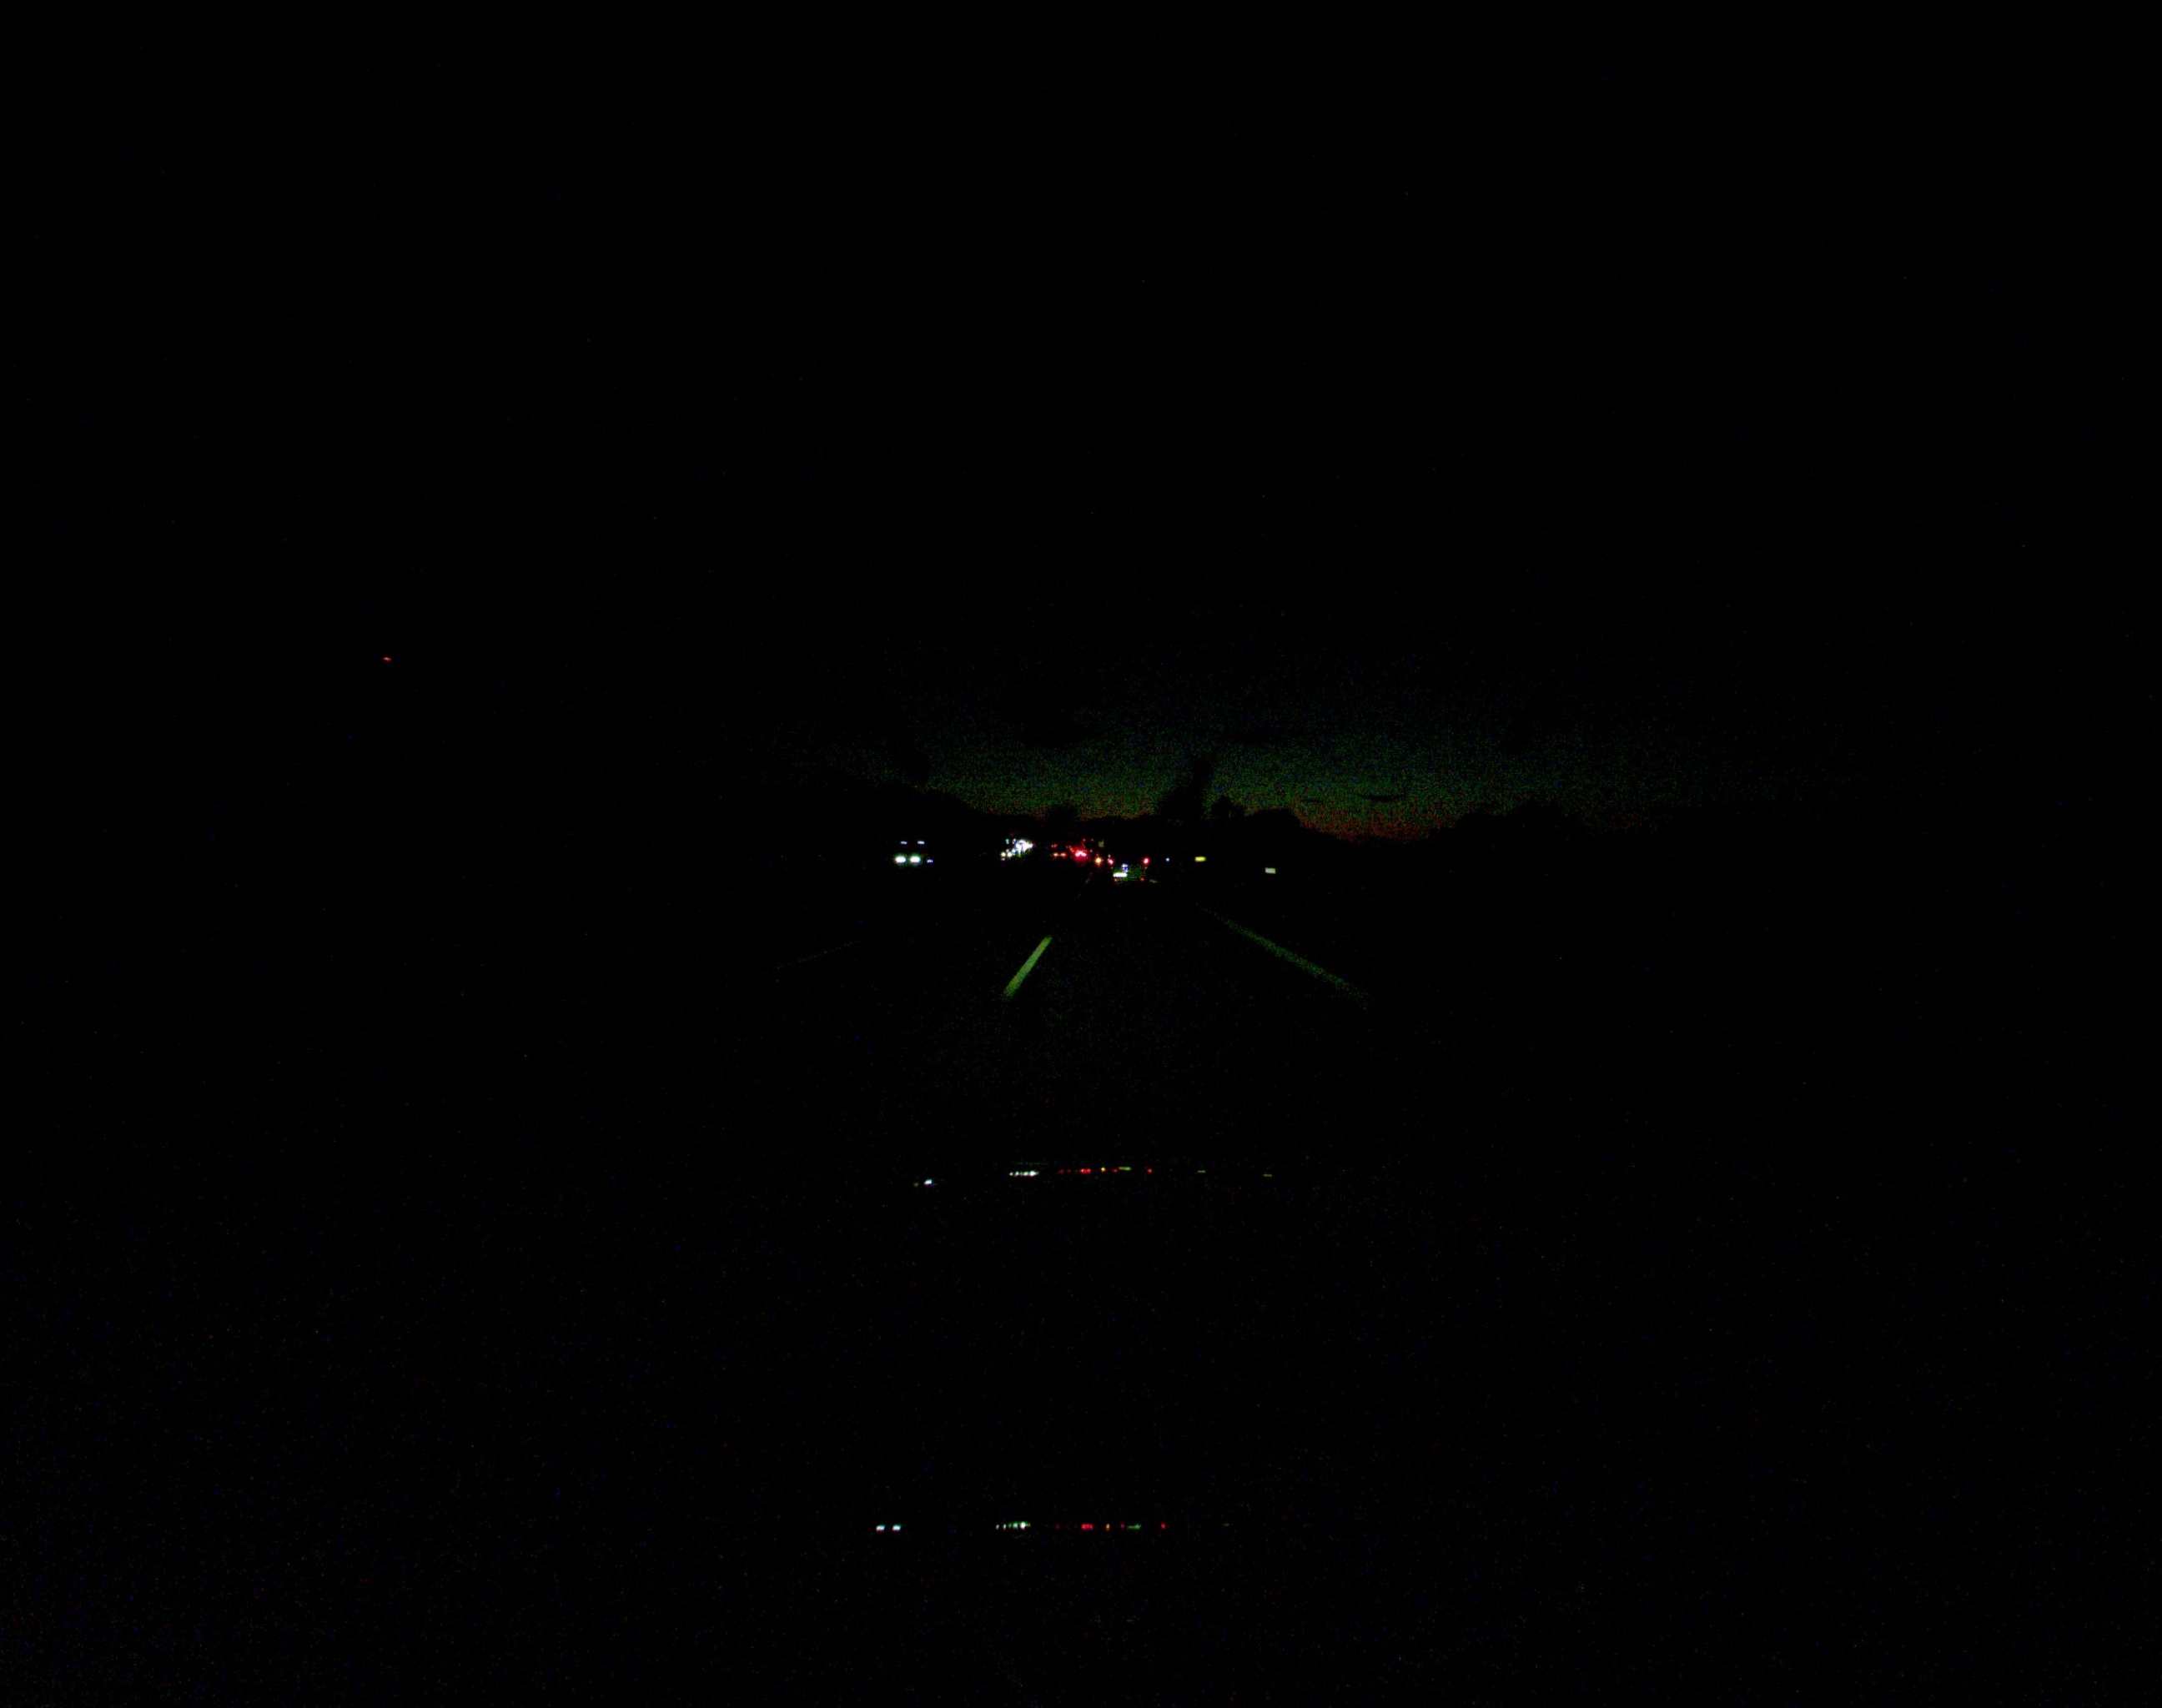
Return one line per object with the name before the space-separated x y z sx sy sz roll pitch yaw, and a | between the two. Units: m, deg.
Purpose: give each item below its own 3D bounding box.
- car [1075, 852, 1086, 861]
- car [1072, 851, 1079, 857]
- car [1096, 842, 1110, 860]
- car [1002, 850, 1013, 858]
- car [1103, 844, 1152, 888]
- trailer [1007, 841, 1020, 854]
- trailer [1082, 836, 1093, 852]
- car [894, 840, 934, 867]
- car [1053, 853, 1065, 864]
car | -0.095 0.487 164.959 1.991 1.794 3.992 0 -1 -5
car | -1.490 0.045 227.466 1.986 1.794 4.000 -1 -1 1
car | 3.198 -0.432 120.207 2.025 2.646 5.727 0 0 1
car | -15.581 -0.004 172.901 1.816 1.694 4.672 -1 -1 0
car | 2.213 0.530 39.949 2.108 2.001 5.664 0 0 0
trailer | -20.918 -2.078 253.233 3.420 3.980 7.350 0 0 -1
trailer | 1.906 -2.948 251.843 2.821 4.257 17.039 0 -1 -1
car | -19.568 -0.088 95.911 2.641 3.085 8.220 0 1 2
car | -3.792 0.806 139.715 1.987 1.816 4.000 -1 -1 0
